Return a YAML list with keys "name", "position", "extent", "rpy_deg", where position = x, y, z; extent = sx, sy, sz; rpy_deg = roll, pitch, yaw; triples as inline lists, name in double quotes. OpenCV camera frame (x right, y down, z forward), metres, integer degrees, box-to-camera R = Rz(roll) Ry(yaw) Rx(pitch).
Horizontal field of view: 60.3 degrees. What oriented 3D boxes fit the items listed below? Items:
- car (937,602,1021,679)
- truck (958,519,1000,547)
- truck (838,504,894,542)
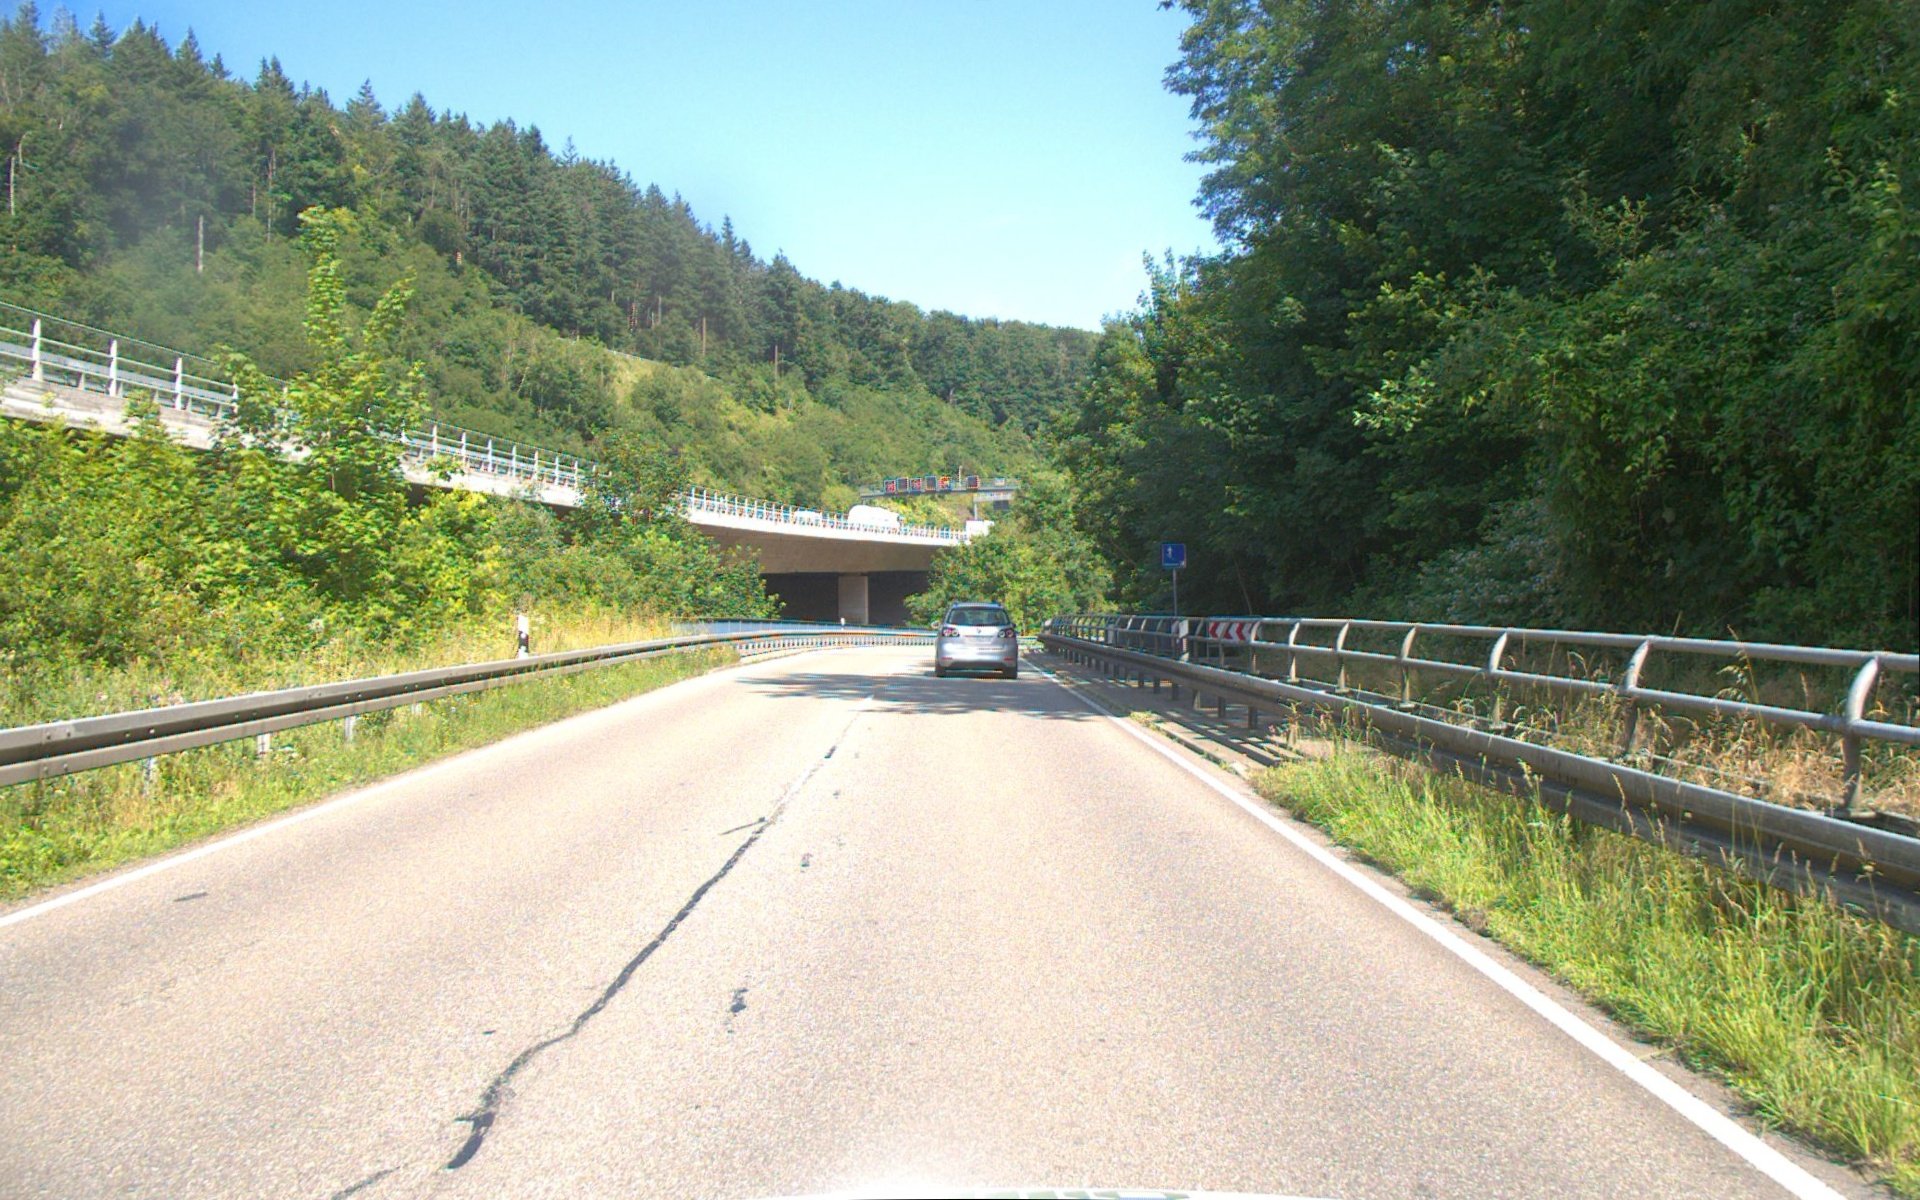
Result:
- name: "car"
  position: [0.355, 0.832, 35.798]
  extent: [1.715, 1.546, 4.158]
  rpy_deg: [0, 0, -1]
- name: "truck"
  position: [2.645, -9.082, 224.491]
  extent: [3.679, 3.444, 10.517]
  rpy_deg: [0, 1, 13]
- name: "truck"
  position: [-9.501, -7.843, 169.024]
  extent: [3.298, 3.413, 10.185]
  rpy_deg: [1, 0, 11]
